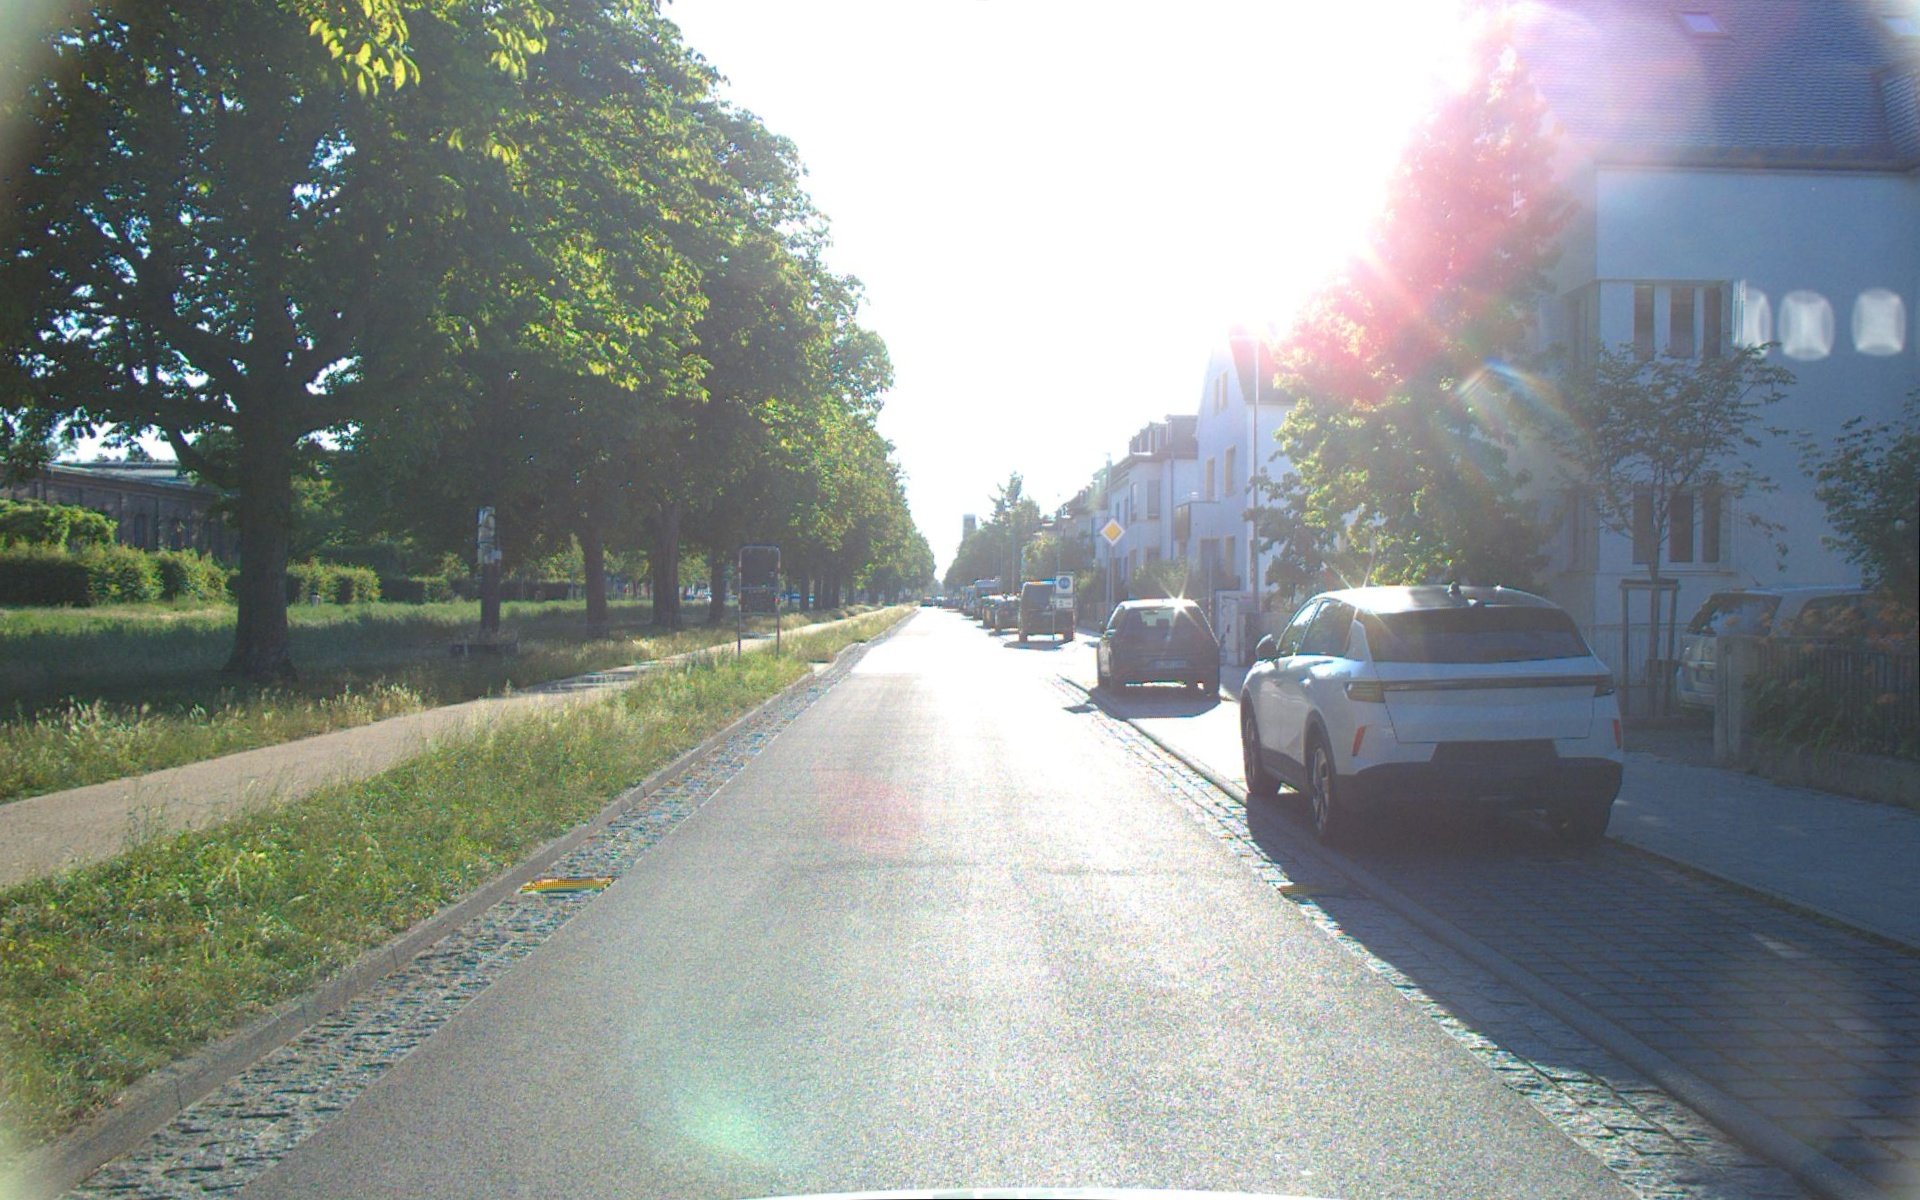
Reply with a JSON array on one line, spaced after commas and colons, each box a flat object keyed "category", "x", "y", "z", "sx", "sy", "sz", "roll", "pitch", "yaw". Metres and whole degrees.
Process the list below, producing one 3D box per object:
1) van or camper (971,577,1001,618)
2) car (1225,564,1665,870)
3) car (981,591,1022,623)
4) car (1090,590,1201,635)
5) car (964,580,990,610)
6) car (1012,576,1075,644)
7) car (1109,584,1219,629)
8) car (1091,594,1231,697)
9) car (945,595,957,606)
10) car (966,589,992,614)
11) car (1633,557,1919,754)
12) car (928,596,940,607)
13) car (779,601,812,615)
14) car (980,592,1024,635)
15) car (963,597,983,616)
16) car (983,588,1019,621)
[{"category": "van or camper", "x": 1.853, "y": -0.158, "z": 118.831, "sx": 1.904, "sy": 2.826, "sz": 5.938, "roll": 1, "pitch": -1, "yaw": 0}, {"category": "car", "x": 3.216, "y": 0.655, "z": 12.004, "sx": 1.866, "sy": 1.738, "sz": 4.576, "roll": -2, "pitch": 1, "yaw": 1}, {"category": "car", "x": 2.131, "y": 0.368, "z": 85.801, "sx": 1.684, "sy": 1.601, "sz": 4.206, "roll": -2, "pitch": 0, "yaw": -4}, {"category": "car", "x": 7.302, "y": 0.482, "z": 65.335, "sx": 4.134, "sy": 1.756, "sz": 1.851, "roll": 0, "pitch": 0, "yaw": -4}, {"category": "car", "x": 1.521, "y": -0.460, "z": 149.240, "sx": 2.084, "sy": 2.577, "sz": 5.186, "roll": -1, "pitch": 0, "yaw": -3}, {"category": "car", "x": 2.834, "y": 0.324, "z": 56.935, "sx": 1.867, "sy": 2.169, "sz": 4.814, "roll": -2, "pitch": 0, "yaw": 0}, {"category": "car", "x": 8.250, "y": 0.266, "z": 67.089, "sx": 4.134, "sy": 1.756, "sz": 1.851, "roll": 0, "pitch": 0, "yaw": -4}, {"category": "car", "x": 3.219, "y": 0.684, "z": 27.232, "sx": 1.757, "sy": 1.508, "sz": 4.123, "roll": -2, "pitch": 0, "yaw": 0}, {"category": "car", "x": -1.320, "y": 0.044, "z": 236.681, "sx": 1.616, "sy": 1.557, "sz": 3.851, "roll": 3, "pitch": 0, "yaw": 0}, {"category": "car", "x": 1.271, "y": 0.069, "z": 112.229, "sx": 1.630, "sy": 1.621, "sz": 4.085, "roll": 1, "pitch": 0, "yaw": -1}, {"category": "car", "x": 9.362, "y": 0.559, "z": 17.257, "sx": 3.906, "sy": 1.877, "sz": 1.813, "roll": 2, "pitch": 1, "yaw": -7}, {"category": "car", "x": -3.996, "y": 0.263, "z": 253.276, "sx": 1.616, "sy": 1.557, "sz": 3.851, "roll": 3, "pitch": 0, "yaw": 0}, {"category": "car", "x": -22.024, "y": 1.080, "z": 221.754, "sx": 4.266, "sy": 1.795, "sz": 1.996, "roll": 2, "pitch": -1, "yaw": -9}, {"category": "car", "x": 1.835, "y": 0.555, "z": 73.678, "sx": 1.757, "sy": 1.802, "sz": 4.472, "roll": -2, "pitch": 0, "yaw": -1}, {"category": "car", "x": 1.123, "y": 0.556, "z": 143.006, "sx": 1.616, "sy": 1.557, "sz": 3.851, "roll": -1, "pitch": 0, "yaw": 0}, {"category": "car", "x": 2.223, "y": 0.218, "z": 91.523, "sx": 1.795, "sy": 1.714, "sz": 4.415, "roll": 2, "pitch": 1, "yaw": -1}]
